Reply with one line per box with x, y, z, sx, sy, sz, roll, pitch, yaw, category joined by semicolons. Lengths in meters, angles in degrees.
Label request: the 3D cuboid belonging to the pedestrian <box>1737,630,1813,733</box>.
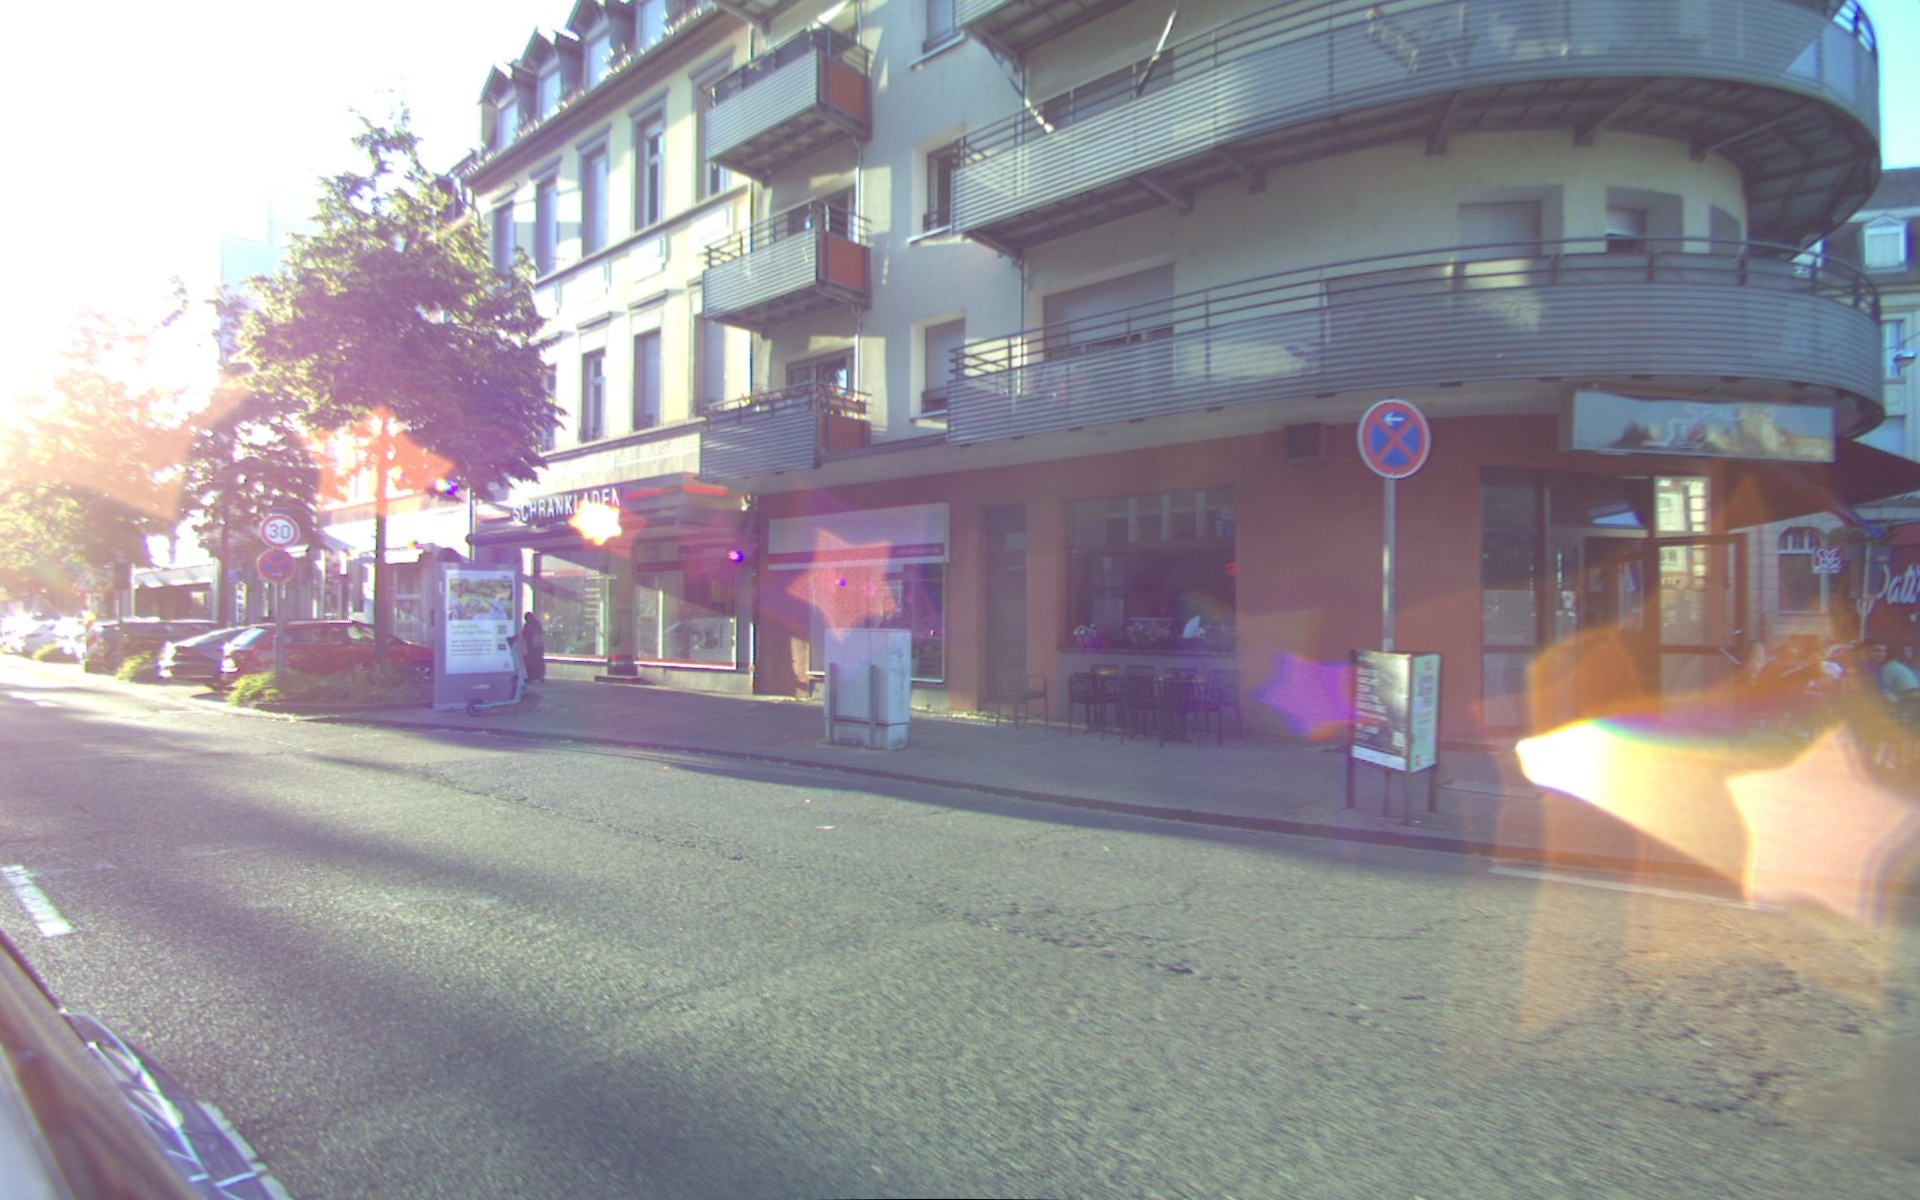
10.845;1.063;13.485;0.699;1.297;0.649;1;-1;32;pedestrian

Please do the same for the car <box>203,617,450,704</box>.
-13.137;1.185;21.162;1.883;1.548;4.030;-1;0;41;car

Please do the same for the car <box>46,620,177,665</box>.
-31.597;1.546;37.743;1.714;1.513;3.520;-1;0;40;car

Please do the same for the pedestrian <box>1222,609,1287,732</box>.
3.983;0.932;13.698;0.598;1.607;0.665;1;-1;41;pedestrian

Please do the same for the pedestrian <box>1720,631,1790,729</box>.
11.377;1.127;14.501;0.699;1.343;0.615;1;-1;32;pedestrian

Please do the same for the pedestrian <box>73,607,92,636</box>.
-54.421;1.339;62.755;0.933;1.762;0.711;-1;1;42;pedestrian

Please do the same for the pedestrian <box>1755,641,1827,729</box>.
12.311;1.237;15.018;0.698;1.234;0.616;1;-1;28;pedestrian

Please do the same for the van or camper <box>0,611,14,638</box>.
-71.646;1.787;73.321;1.789;1.971;4.410;-1;-1;42;van or camper

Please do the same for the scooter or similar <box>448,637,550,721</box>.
-7.328;1.226;16.127;0.525;1.235;1.384;-1;-1;38;scooter or similar

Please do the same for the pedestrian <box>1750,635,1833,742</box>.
10.331;1.082;12.597;0.699;1.256;0.615;1;-1;32;pedestrian

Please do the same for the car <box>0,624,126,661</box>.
-40.575;1.878;45.556;1.743;1.495;4.500;-1;-1;41;car

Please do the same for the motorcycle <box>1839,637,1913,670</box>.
31.308;1.834;34.613;1.791;1.087;0.507;-2;-2;21;motorcycle

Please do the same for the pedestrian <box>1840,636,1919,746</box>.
11.092;1.073;12.141;0.699;1.256;0.615;1;-1;32;pedestrian

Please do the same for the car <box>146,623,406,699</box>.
-15.203;1.281;22.728;1.820;1.418;4.524;-1;0;40;car

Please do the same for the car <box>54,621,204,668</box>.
-28.569;1.486;34.879;1.804;1.455;3.702;-1;0;38;car

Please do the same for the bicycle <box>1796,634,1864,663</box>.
31.938;1.776;37.163;1.794;1.016;0.506;-2;-2;25;bicycle

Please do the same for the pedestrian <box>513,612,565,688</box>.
-9.363;1.085;22.529;0.875;1.620;0.764;1;1;42;pedestrian

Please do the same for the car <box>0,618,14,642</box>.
-69.681;2.119;71.443;1.733;1.681;4.137;0;-1;43;car

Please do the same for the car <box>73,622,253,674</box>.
-24.506;1.425;31.229;1.882;1.414;4.066;-1;0;39;car

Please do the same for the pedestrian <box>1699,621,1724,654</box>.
36.448;1.810;49.109;0.837;1.610;0.729;-1;-2;30;pedestrian

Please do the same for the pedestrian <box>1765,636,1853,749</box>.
10.004;1.069;11.947;0.699;1.256;0.615;1;-1;32;pedestrian

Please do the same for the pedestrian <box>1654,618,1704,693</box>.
14.750;1.121;20.777;0.616;1.480;0.698;1;-1;15;pedestrian

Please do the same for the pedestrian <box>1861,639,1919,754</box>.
10.783;1.083;11.498;0.699;1.256;0.615;1;-1;32;pedestrian

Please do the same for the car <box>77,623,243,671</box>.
-26.157;1.491;33.170;1.843;1.414;4.053;-1;-1;43;car

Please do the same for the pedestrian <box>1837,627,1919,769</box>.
9.401;0.964;10.153;0.827;1.358;0.740;1;-1;35;pedestrian

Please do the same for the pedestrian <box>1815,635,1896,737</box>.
11.987;1.129;13.564;0.699;1.297;0.615;1;-1;32;pedestrian

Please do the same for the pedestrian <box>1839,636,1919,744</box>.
11.700;1.119;12.862;0.699;1.297;0.615;1;-1;32;pedestrian

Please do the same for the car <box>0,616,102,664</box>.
-36.646;1.560;39.830;1.888;1.786;4.109;-1;0;39;car

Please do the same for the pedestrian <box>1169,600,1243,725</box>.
3.307;0.816;13.619;0.751;1.607;0.590;1;-1;43;pedestrian

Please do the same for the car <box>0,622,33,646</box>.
-60.902;2.166;63.505;1.742;1.468;3.828;-1;-1;39;car

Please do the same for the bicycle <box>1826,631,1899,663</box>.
31.503;1.632;35.359;1.793;1.087;0.507;-2;-2;24;bicycle

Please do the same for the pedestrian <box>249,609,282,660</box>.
-24.313;1.196;35.441;0.875;1.734;0.764;1;1;42;pedestrian

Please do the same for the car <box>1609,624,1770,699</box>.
17.356;1.398;24.318;1.954;1.608;3.976;0;-1;18;car

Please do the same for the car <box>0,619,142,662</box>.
-37.384;1.670;42.580;1.888;1.608;4.361;-2;-1;40;car

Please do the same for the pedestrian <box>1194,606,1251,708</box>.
4.072;0.870;15.705;0.598;1.530;0.665;1;-1;41;pedestrian

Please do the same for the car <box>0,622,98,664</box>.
-34.863;1.581;37.564;1.765;1.432;4.109;-1;0;39;car

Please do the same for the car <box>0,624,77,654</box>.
-48.809;2.020;52.585;1.744;1.495;4.229;-1;-1;41;car
